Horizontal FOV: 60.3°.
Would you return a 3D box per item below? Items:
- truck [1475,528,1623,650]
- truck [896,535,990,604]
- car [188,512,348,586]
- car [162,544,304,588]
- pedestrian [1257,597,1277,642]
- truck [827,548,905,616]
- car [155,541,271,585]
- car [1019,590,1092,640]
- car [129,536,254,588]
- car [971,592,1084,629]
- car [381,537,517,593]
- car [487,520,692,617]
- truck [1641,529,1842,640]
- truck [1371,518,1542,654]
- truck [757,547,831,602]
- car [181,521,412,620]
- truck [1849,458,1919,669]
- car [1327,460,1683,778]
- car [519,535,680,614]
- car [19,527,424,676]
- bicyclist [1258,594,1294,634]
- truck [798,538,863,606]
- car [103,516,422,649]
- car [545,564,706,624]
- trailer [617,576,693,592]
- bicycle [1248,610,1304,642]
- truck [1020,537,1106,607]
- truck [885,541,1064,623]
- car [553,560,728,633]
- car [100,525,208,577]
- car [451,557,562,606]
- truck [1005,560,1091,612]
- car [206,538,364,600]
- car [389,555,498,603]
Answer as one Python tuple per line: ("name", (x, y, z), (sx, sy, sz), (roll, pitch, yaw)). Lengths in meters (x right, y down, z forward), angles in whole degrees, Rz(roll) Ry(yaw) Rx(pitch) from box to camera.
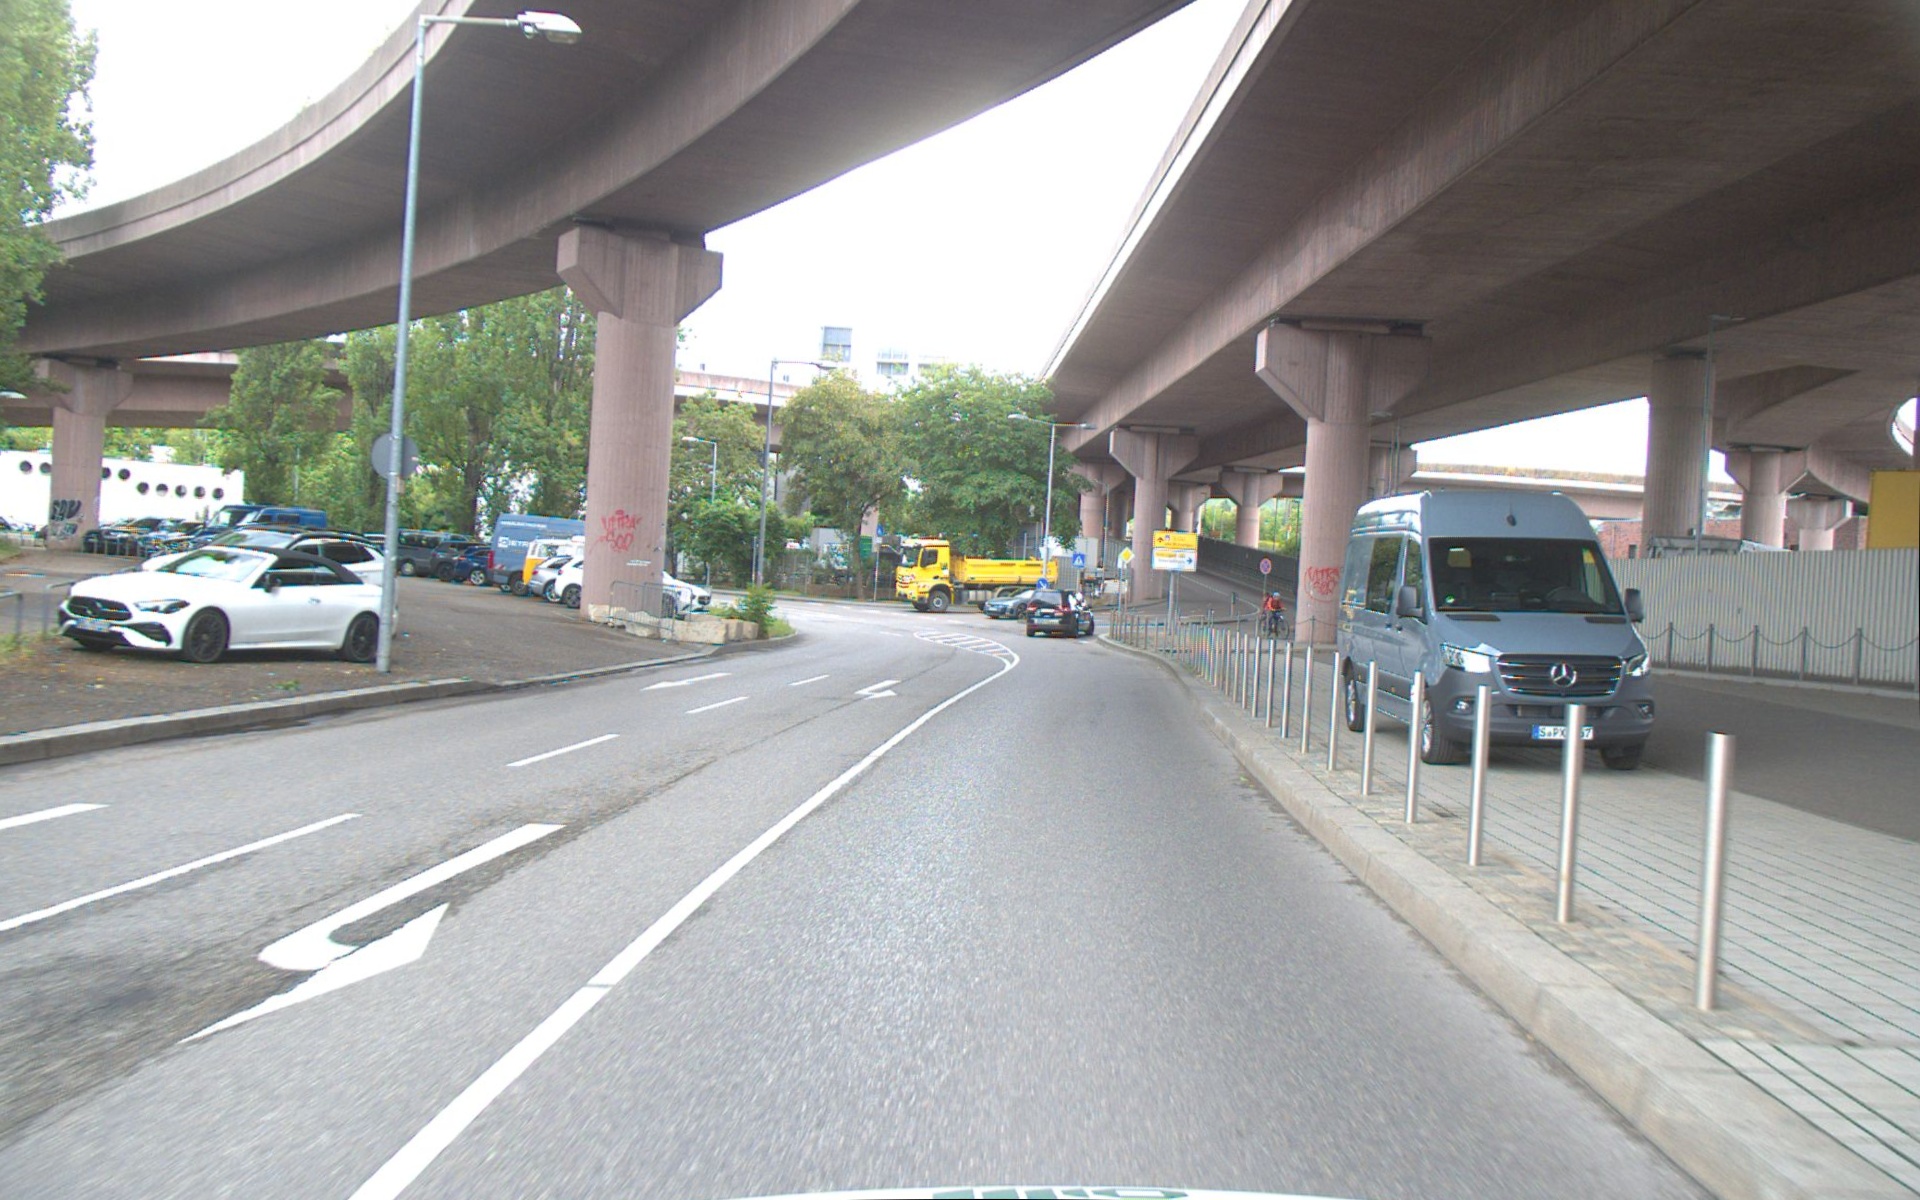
("truck", (26.100, -0.386, 72.965), (3.091, 4.988, 8.668), (2, 0, 41))
("truck", (-1.132, -1.921, 101.084), (3.023, 3.934, 7.997), (1, 2, -22))
("car", (-23.078, -1.667, 55.424), (2.073, 2.294, 5.019), (1, 0, 19))
("car", (-26.337, -1.218, 60.117), (1.953, 1.460, 4.644), (1, 0, 22))
("pedestrian", (11.811, 0.738, 63.650), (0.527, 1.705, 0.556), (1, 1, -13))
("truck", (-6.040, -1.155, 105.177), (3.021, 4.032, 6.882), (2, 0, -20))
("car", (-28.339, -1.375, 62.844), (1.751, 1.500, 3.887), (2, 0, 21))
("car", (3.540, 0.537, 60.376), (1.951, 1.709, 4.564), (1, 0, 12))
("car", (-30.152, -1.521, 65.008), (1.803, 1.831, 4.302), (1, 4, 23))
("car", (3.111, 0.480, 75.398), (4.876, 1.528, 2.146), (2, 0, -36))
("car", (-21.822, -1.499, 70.788), (4.984, 2.108, 2.260), (2, -1, 2))
("car", (-12.205, -1.036, 54.736), (6.046, 2.772, 2.369), (4, 0, 4))
("truck", (23.409, -0.425, 49.244), (3.091, 2.995, 8.666), (-1, -1, 42))
("truck", (19.813, -0.448, 65.605), (3.091, 5.003, 8.668), (2, 0, 41))
("truck", (-12.211, -1.923, 121.215), (3.015, 3.681, 7.859), (2, 2, -24))
("car", (-13.092, -0.534, 32.918), (1.819, 1.720, 4.163), (3, 0, 22))
("truck", (23.802, -0.714, 39.126), (3.089, 4.521, 9.677), (1, 0, 39))
("car", (5.326, 0.141, 17.164), (1.952, 2.658, 6.077), (2, 0, 3))
("car", (-11.309, -0.781, 51.997), (4.460, 2.147, 1.852), (4, 0, 7))
("car", (-9.458, 0.105, 21.722), (1.953, 1.505, 4.829), (7, -1, 19))
("bicyclist", (11.537, 0.493, 60.394), (0.788, 1.430, 1.055), (1, 0, -32))
("truck", (-9.830, -2.196, 125.030), (3.152, 4.862, 8.012), (1, 2, -17))
("car", (-10.612, -0.200, 25.575), (1.954, 1.609, 4.401), (7, 0, 20))
("car", (-9.944, -0.193, 49.292), (4.155, 1.394, 2.002), (5, 1, 9))
("trailer", (-20.119, -1.064, 108.877), (2.137, 0.756, 6.202), (-2, 4, -41))
("bicycle", (11.522, 0.945, 60.412), (0.794, 1.117, 2.108), (1, 0, -31))
("truck", (6.813, -1.920, 111.001), (3.018, 4.374, 8.011), (1, 2, -17))
("truck", (0.718, -0.848, 80.622), (8.110, 3.540, 2.916), (2, 4, -24))
("car", (-8.924, -0.096, 46.292), (4.289, 1.633, 1.956), (5, 1, 12))
("car", (-33.861, -2.033, 69.633), (1.619, 1.741, 4.084), (5, -1, 17))
("car", (-17.325, -0.704, 63.360), (3.918, 1.770, 2.015), (1, 0, -13))
("truck", (5.495, -0.923, 104.089), (2.874, 2.949, 6.516), (1, 2, -22))
("car", (-19.873, -0.885, 48.861), (1.857, 1.705, 4.152), (2, 0, 24))
("car", (-20.381, -0.824, 65.452), (3.918, 1.760, 1.994), (1, 0, -13))
